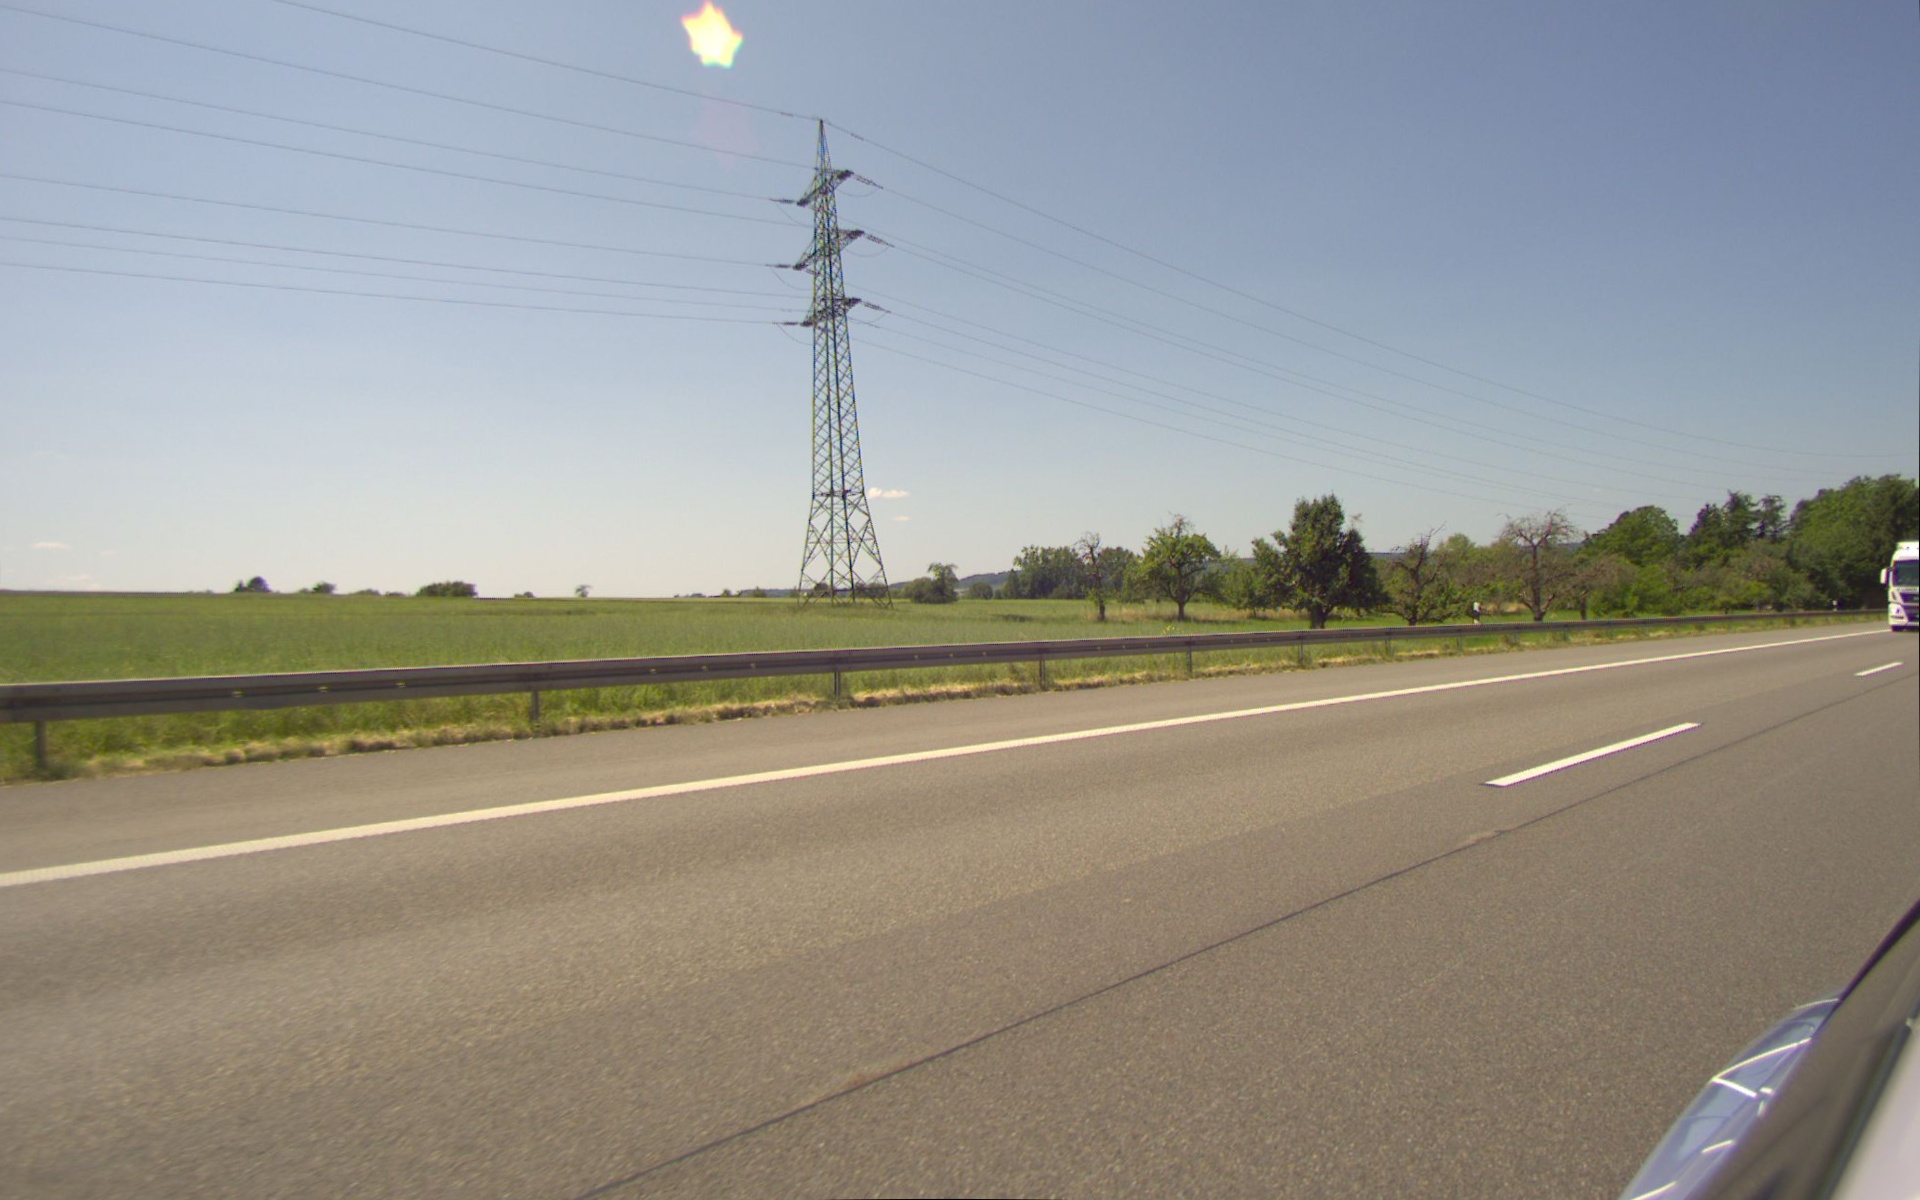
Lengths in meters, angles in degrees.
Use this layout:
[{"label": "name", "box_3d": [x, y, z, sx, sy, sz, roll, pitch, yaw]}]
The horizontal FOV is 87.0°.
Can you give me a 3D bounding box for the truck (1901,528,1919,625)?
[{"label": "truck", "box_3d": [44.456, -1.058, 45.395, 6.137, 4.206, 2.566, 0, 0, -40]}]
